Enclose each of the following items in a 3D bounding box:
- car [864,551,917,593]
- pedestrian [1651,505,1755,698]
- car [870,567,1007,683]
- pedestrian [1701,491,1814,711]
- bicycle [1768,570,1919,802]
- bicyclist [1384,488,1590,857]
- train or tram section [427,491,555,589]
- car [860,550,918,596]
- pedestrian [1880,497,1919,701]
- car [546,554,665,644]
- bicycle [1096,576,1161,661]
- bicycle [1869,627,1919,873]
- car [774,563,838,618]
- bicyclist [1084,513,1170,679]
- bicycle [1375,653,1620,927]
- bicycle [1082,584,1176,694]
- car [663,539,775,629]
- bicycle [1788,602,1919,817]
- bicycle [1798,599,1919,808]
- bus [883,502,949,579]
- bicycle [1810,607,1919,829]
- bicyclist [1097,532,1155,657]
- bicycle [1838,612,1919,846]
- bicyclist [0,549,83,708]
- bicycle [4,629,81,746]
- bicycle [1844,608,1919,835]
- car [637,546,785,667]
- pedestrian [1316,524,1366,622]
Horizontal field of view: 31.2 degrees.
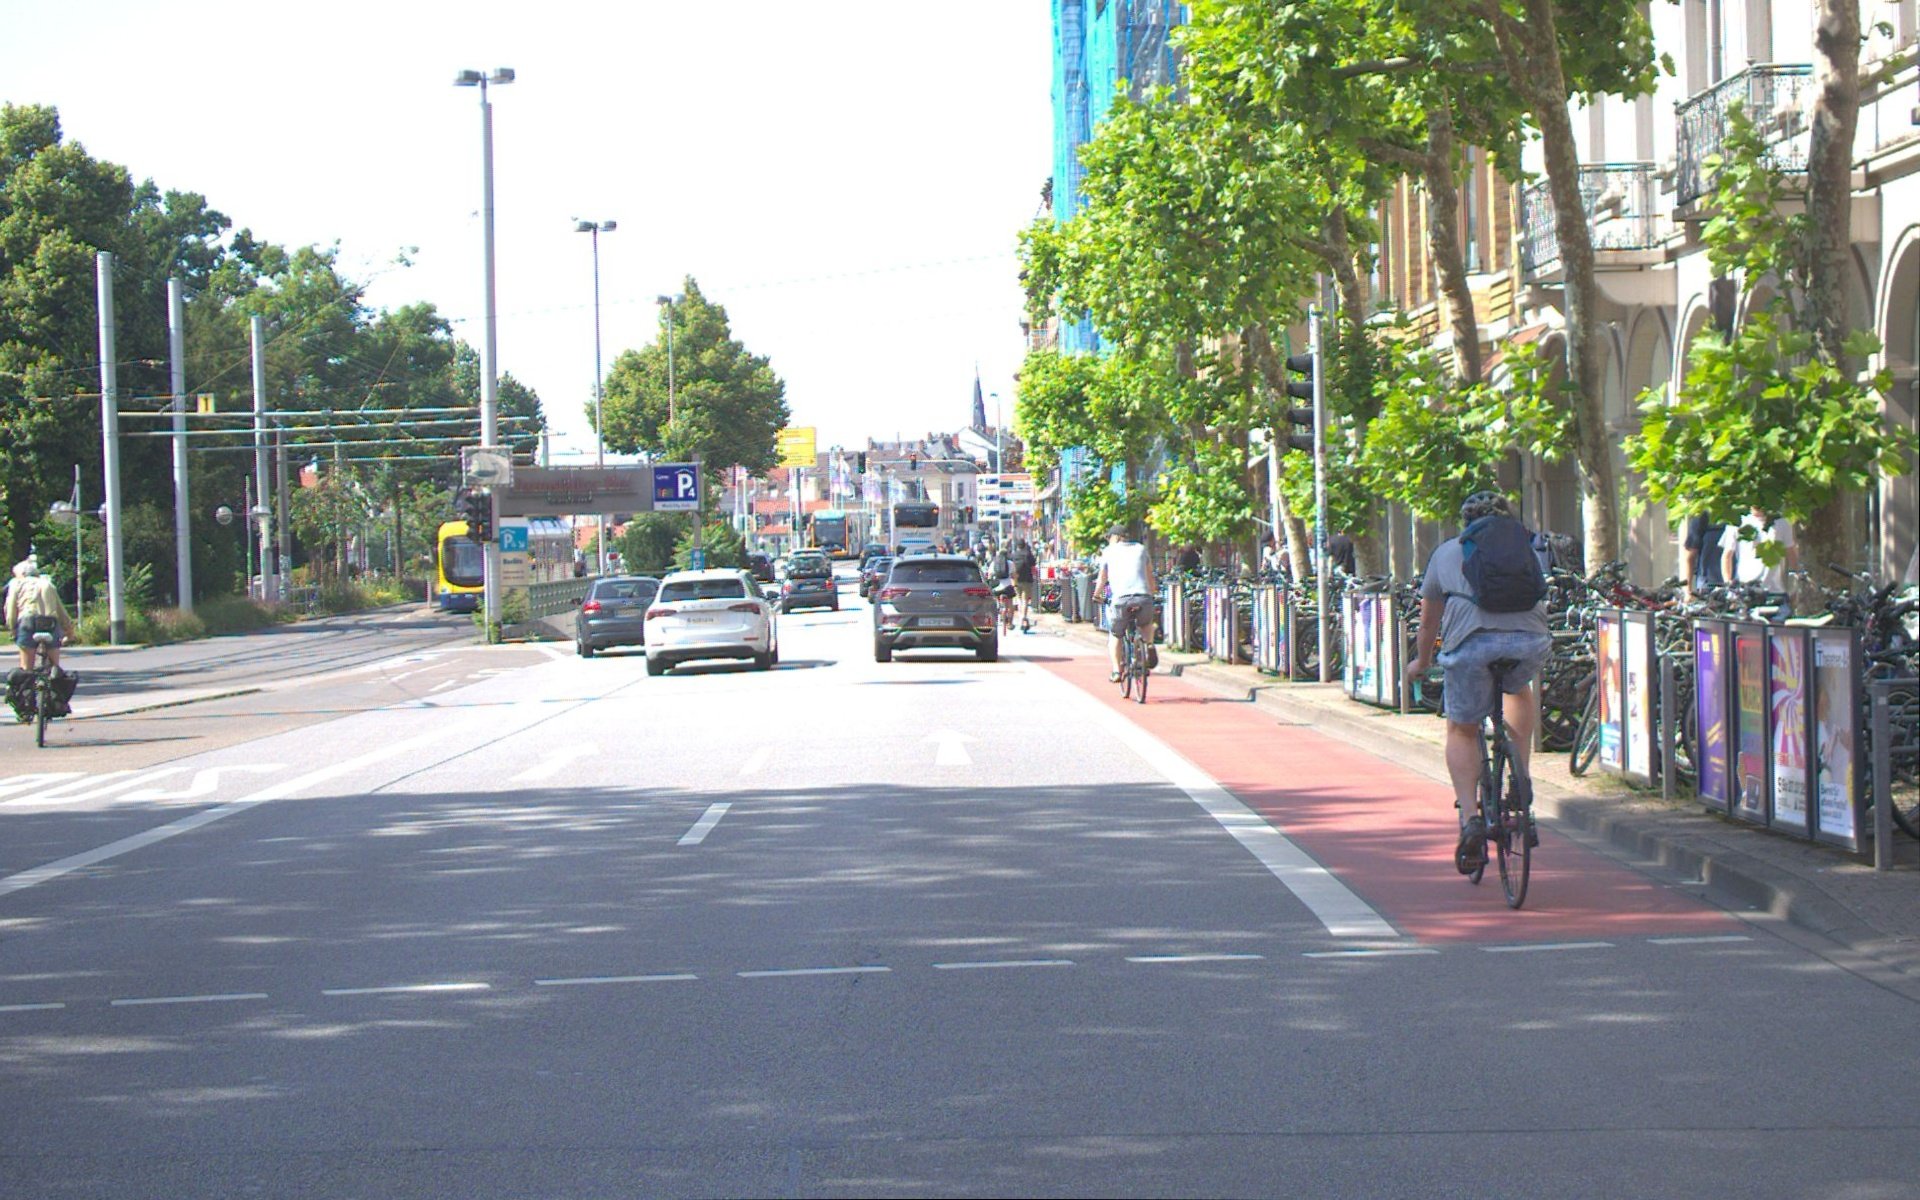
[{"bbox_3d":[-2.516,-1.005,123.387,1.845,1.409,4.001,-1,1,-2],"label":"car"},{"bbox_3d":[6.151,0.008,28.481,0.675,1.567,0.612,-1,1,-2],"label":"pedestrian"},{"bbox_3d":[-0.352,0.334,50.424,1.845,1.554,4.001,1,1,-2],"label":"car"},{"bbox_3d":[6.110,0.003,26.363,0.675,1.659,0.612,-1,1,-2],"label":"pedestrian"},{"bbox_3d":[4.845,0.413,17.311,1.420,1.110,0.401,-2,2,0],"label":"bicycle"},{"bbox_3d":[2.202,0.280,14.478,0.630,1.476,1.198,-1,1,-2],"label":"bicyclist"},{"bbox_3d":[-16.889,-2.205,124.639,2.613,3.336,11.002,-1,1,3],"label":"train or tram section"},{"bbox_3d":[-2.369,-0.898,113.281,1.845,1.409,4.001,-1,1,-2],"label":"car"},{"bbox_3d":[7.616,-0.019,26.798,0.675,1.567,0.612,-1,1,-2],"label":"pedestrian"},{"bbox_3d":[-6.433,-0.043,62.698,1.845,1.554,4.000,-1,1,-2],"label":"car"},{"bbox_3d":[2.096,0.223,42.984,0.647,0.994,2.031,-1,1,-1],"label":"bicycle"},{"bbox_3d":[4.543,0.586,14.217,1.420,0.976,0.445,-2,2,0],"label":"bicycle"},{"bbox_3d":[-4.629,-0.307,103.746,1.845,1.554,4.001,-1,1,-2],"label":"car"},{"bbox_3d":[1.673,-0.052,34.631,0.774,1.629,0.851,-2,1,-1],"label":"bicyclist"},{"bbox_3d":[2.215,0.754,14.397,0.630,0.976,2.089,-1,1,-2],"label":"bicycle"},{"bbox_3d":[1.688,0.377,34.659,0.774,1.002,2.330,-2,2,-1],"label":"bicycle"},{"bbox_3d":[-4.386,-0.314,62.973,1.845,1.554,4.000,-1,1,-2],"label":"car"},{"bbox_3d":[4.742,0.501,16.449,1.420,0.976,0.445,-2,2,0],"label":"bicycle"},{"bbox_3d":[4.891,0.486,16.885,1.420,0.976,0.401,-2,2,0],"label":"bicycle"},{"bbox_3d":[-2.230,-2.912,169.163,2.994,3.581,11.746,-1,1,-2],"label":"bus"},{"bbox_3d":[4.728,0.521,15.957,1.420,0.976,0.445,-2,2,0],"label":"bicycle"},{"bbox_3d":[2.080,-0.080,43.275,0.647,1.545,0.817,-1,1,-1],"label":"bicyclist"},{"bbox_3d":[4.625,0.533,15.039,1.420,0.976,0.445,-2,2,0],"label":"bicycle"},{"bbox_3d":[-8.961,0.263,33.426,0.738,1.497,1.052,-1,1,-11],"label":"bicyclist"},{"bbox_3d":[-8.824,0.826,33.071,0.677,1.022,1.968,-1,1,-15],"label":"bicycle"},{"bbox_3d":[4.770,0.518,15.501,1.420,0.976,0.445,-2,2,0],"label":"bicycle"},{"bbox_3d":[-3.554,0.060,49.700,1.845,1.554,4.000,-2,2,-1],"label":"car"},{"bbox_3d":[6.168,-0.434,55.676,0.675,1.567,0.612,-1,1,-2],"label":"pedestrian"}]
